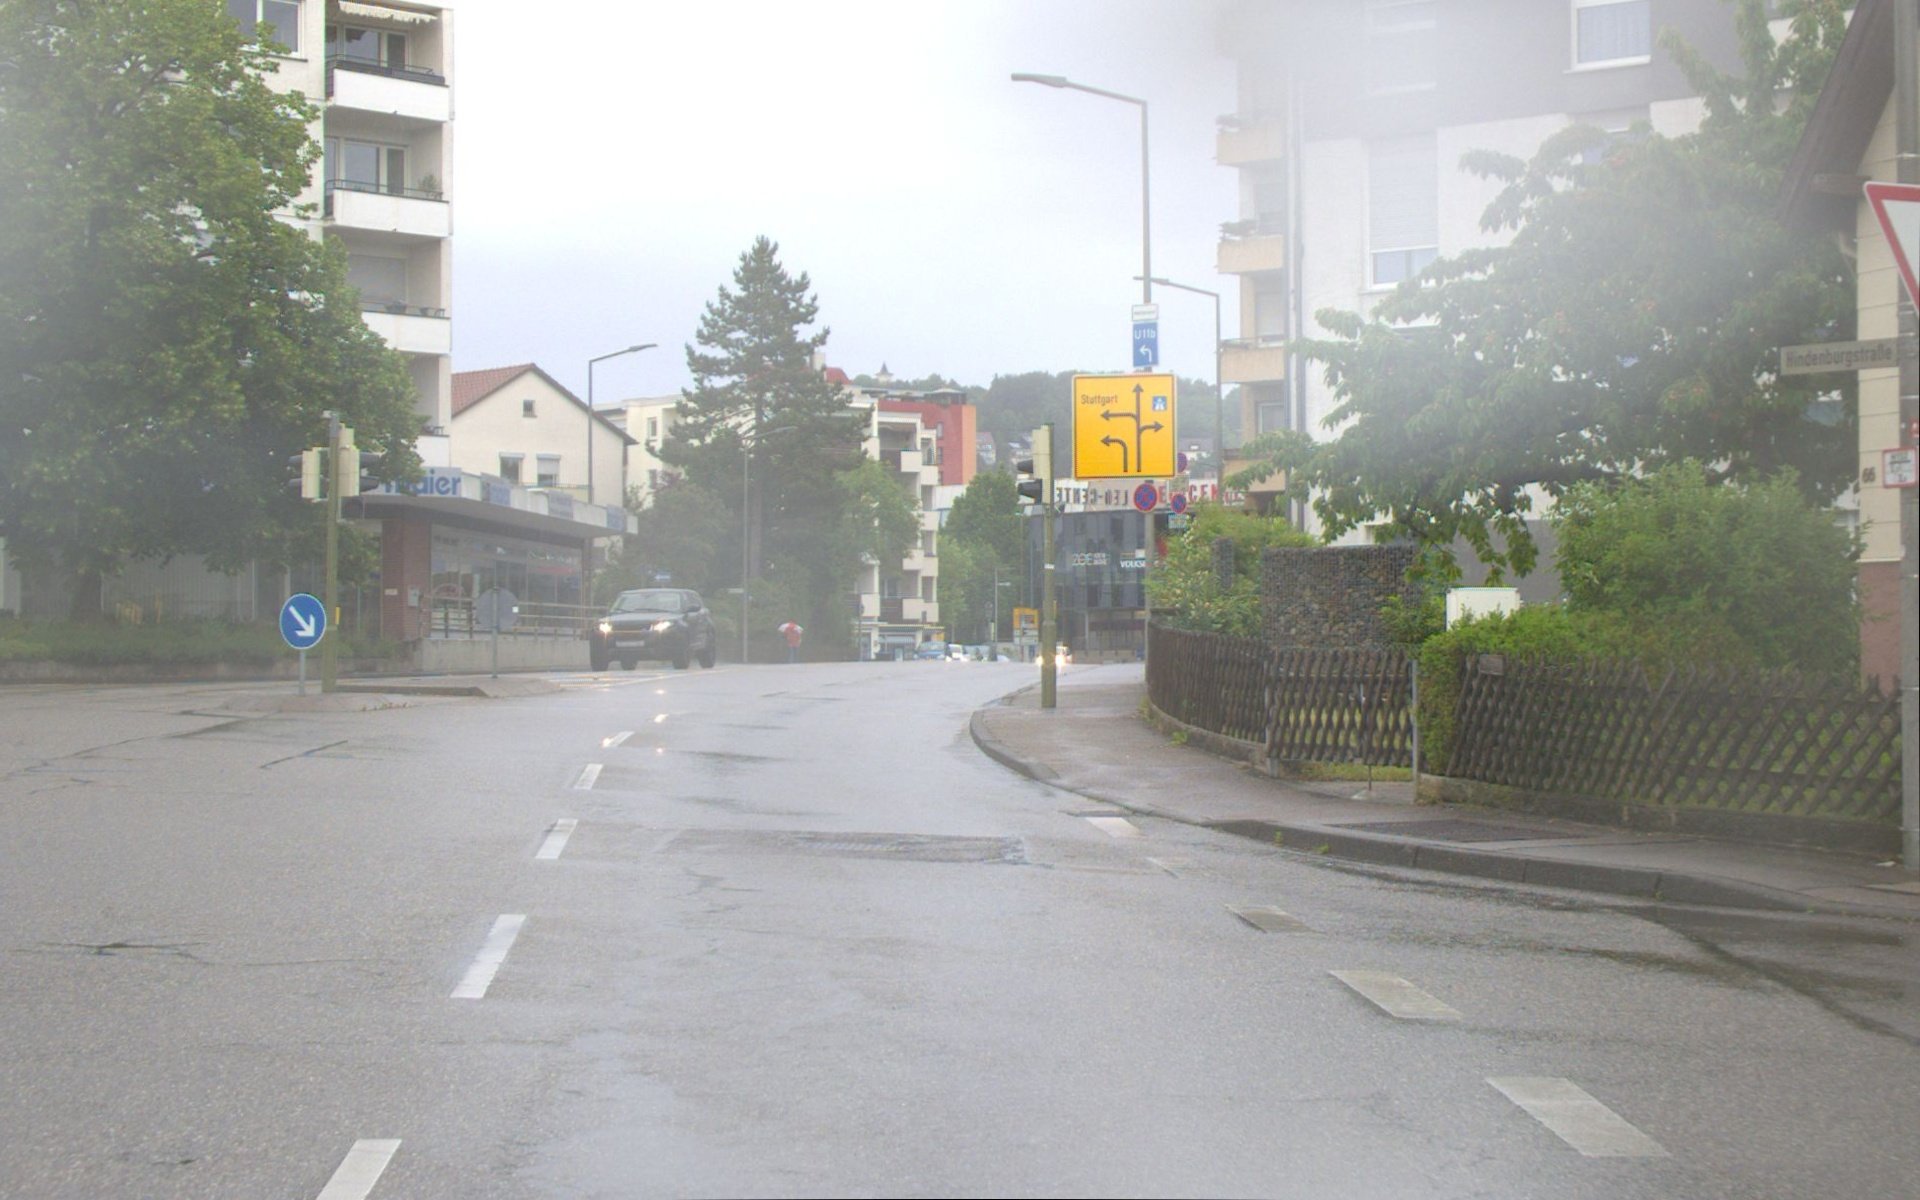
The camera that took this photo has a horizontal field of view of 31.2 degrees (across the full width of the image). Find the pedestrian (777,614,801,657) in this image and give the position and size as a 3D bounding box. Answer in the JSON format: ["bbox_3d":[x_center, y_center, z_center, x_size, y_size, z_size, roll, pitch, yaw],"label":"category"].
[{"bbox_3d":[-6.559,1.358,131.811,0.869,1.601,1.103,0,-2,-1],"label":"pedestrian"}]

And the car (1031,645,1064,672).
[{"bbox_3d":[4.985,3.310,195.551,1.698,1.404,4.000,-3,0,3],"label":"car"}]

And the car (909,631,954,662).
[{"bbox_3d":[-1.438,2.378,173.758,1.652,1.516,4.322,0,-1,8],"label":"car"}]

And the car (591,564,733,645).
[{"bbox_3d":[-5.895,0.079,68.486,1.803,1.551,4.316,0,0,9],"label":"car"}]
